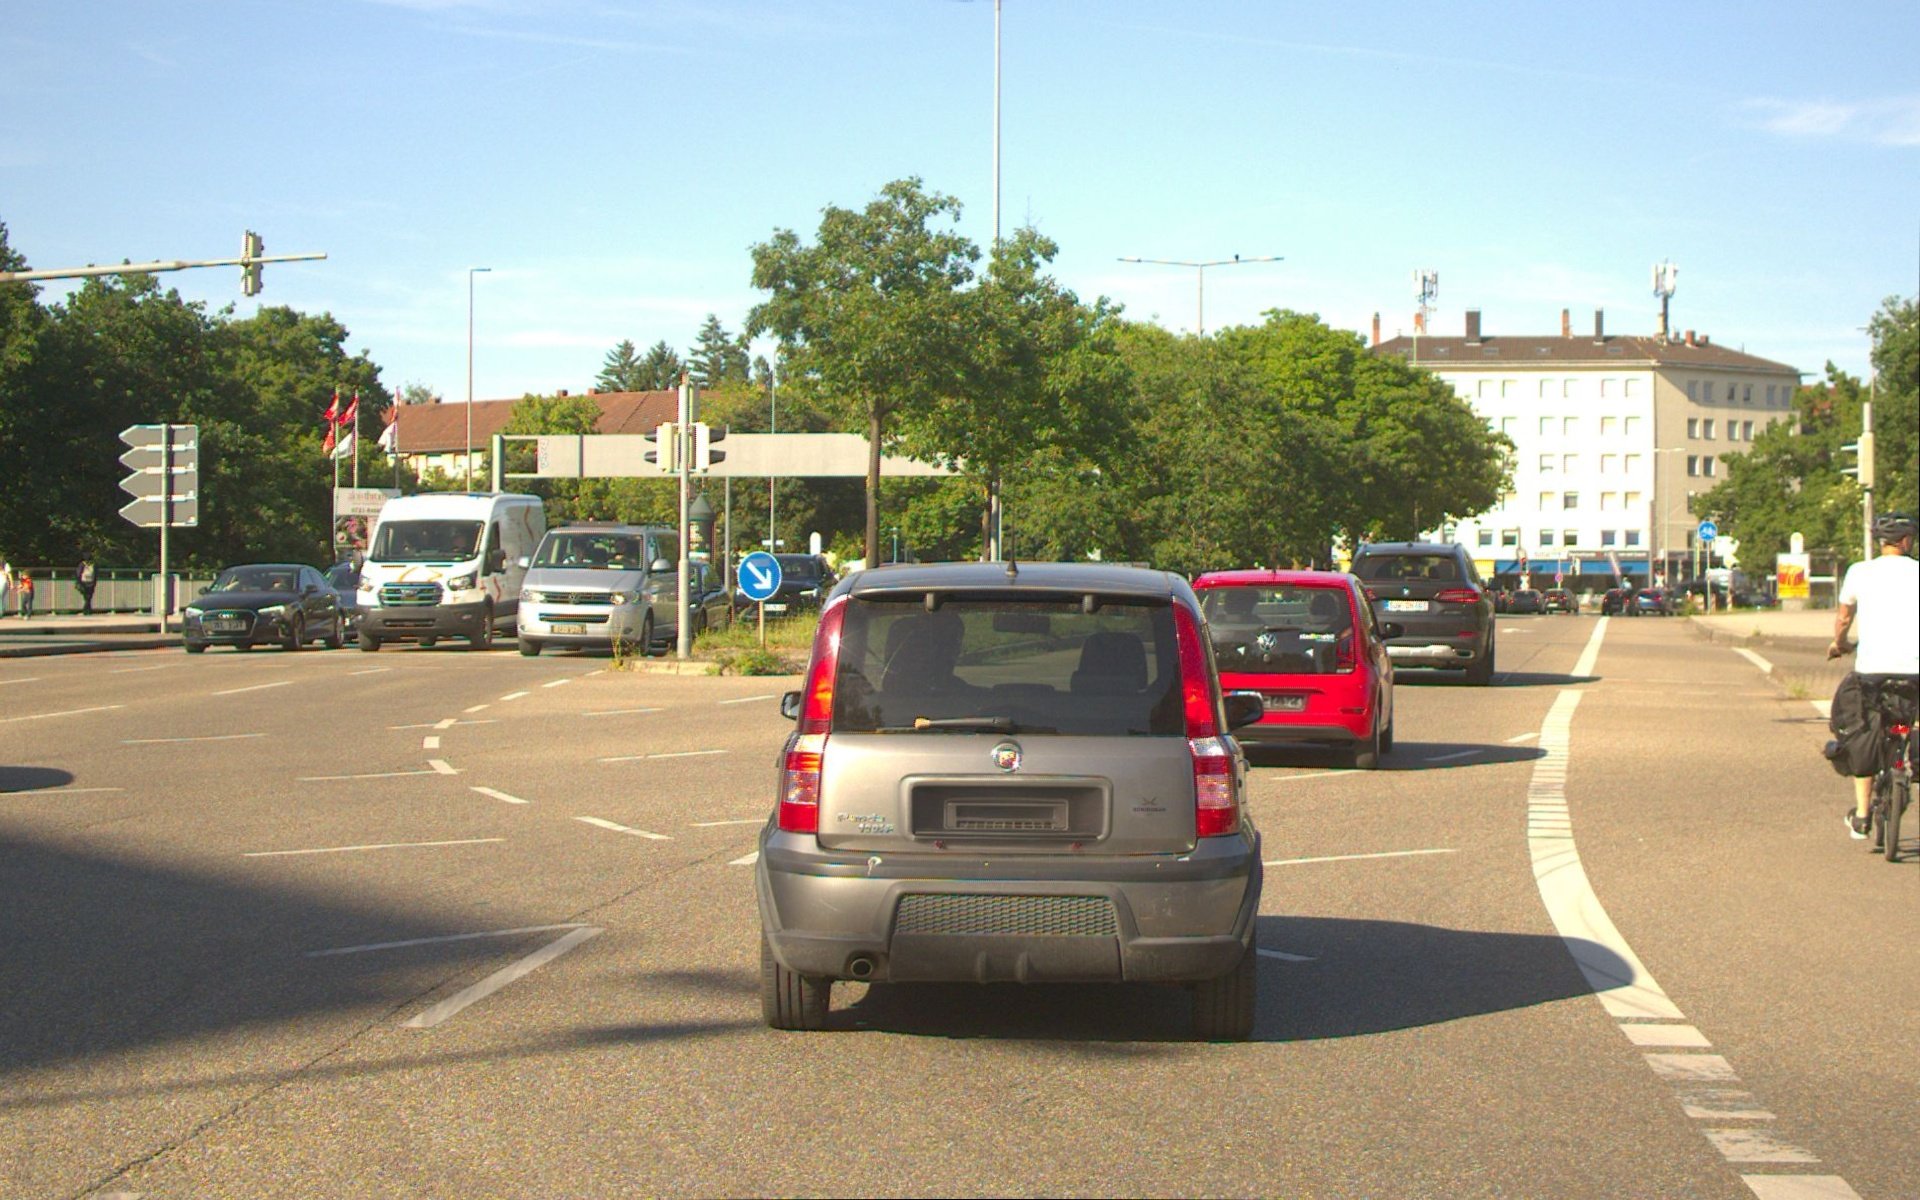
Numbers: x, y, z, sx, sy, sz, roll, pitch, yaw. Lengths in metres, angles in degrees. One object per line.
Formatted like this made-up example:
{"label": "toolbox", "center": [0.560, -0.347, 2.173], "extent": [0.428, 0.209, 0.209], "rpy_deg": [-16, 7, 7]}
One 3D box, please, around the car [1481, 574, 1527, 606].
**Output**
{"label": "car", "center": [26.902, -0.497, 169.982], "extent": [1.946, 1.523, 4.095], "rpy_deg": [1, 0, 13]}

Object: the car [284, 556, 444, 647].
{"label": "car", "center": [-10.655, -0.003, 61.761], "extent": [1.811, 1.536, 4.616], "rpy_deg": [-1, 1, 3]}

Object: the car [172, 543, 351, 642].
{"label": "car", "center": [-11.135, -0.134, 55.091], "extent": [1.937, 1.502, 4.000], "rpy_deg": [-1, 1, 2]}

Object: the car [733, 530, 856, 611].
{"label": "car", "center": [-3.440, -0.624, 72.263], "extent": [1.937, 1.617, 4.505], "rpy_deg": [1, 1, 6]}

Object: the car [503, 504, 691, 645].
{"label": "car", "center": [-5.367, -0.387, 51.484], "extent": [1.937, 2.001, 4.931], "rpy_deg": [1, 1, 4]}

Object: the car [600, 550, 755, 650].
{"label": "car", "center": [-4.745, -0.020, 58.307], "extent": [1.937, 1.617, 4.505], "rpy_deg": [1, 1, 4]}

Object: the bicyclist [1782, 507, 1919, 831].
{"label": "bicyclist", "center": [4.811, 0.353, 18.327], "extent": [0.724, 1.654, 1.112], "rpy_deg": [2, 0, 10]}

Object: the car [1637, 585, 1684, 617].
{"label": "car", "center": [40.582, 0.072, 199.100], "extent": [1.868, 1.675, 3.903], "rpy_deg": [1, -2, 24]}

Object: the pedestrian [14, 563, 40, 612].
{"label": "pedestrian", "center": [-22.053, -0.298, 81.255], "extent": [0.423, 1.132, 0.397], "rpy_deg": [2, -2, 9]}

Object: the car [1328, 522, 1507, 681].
{"label": "car", "center": [5.798, 0.030, 43.221], "extent": [1.946, 1.834, 4.150], "rpy_deg": [2, 0, 11]}

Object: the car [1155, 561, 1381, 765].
{"label": "car", "center": [2.424, 0.433, 26.756], "extent": [1.618, 1.458, 3.750], "rpy_deg": [1, 1, 6]}

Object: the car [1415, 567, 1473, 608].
{"label": "car", "center": [18.802, -0.490, 133.540], "extent": [1.946, 1.523, 4.095], "rpy_deg": [1, 0, 12]}

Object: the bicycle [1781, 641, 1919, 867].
{"label": "bicycle", "center": [4.800, 0.791, 18.331], "extent": [0.691, 1.098, 1.825], "rpy_deg": [2, 0, 10]}

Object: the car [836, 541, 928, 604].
{"label": "car", "center": [-2.079, -0.748, 92.498], "extent": [1.937, 1.617, 4.505], "rpy_deg": [1, 1, 6]}

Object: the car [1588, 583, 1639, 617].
{"label": "car", "center": [36.383, 0.008, 191.396], "extent": [1.868, 1.675, 3.903], "rpy_deg": [1, -2, 25]}

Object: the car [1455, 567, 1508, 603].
{"label": "car", "center": [22.356, -0.645, 147.216], "extent": [1.946, 1.523, 4.095], "rpy_deg": [1, 0, 12]}

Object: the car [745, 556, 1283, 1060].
{"label": "car", "center": [0.235, 0.608, 12.323], "extent": [1.617, 1.510, 3.819], "rpy_deg": [0, 1, 2]}

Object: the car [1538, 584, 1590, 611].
{"label": "car", "center": [35.815, -0.157, 203.823], "extent": [1.948, 1.523, 4.091], "rpy_deg": [1, 0, 26]}

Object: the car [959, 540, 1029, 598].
{"label": "car", "center": [1.211, -1.067, 119.528], "extent": [1.994, 2.007, 4.333], "rpy_deg": [0, 0, 6]}

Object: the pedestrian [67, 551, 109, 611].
{"label": "pedestrian", "center": [-22.540, -0.484, 88.884], "extent": [0.671, 1.498, 0.778], "rpy_deg": [1, -2, 24]}

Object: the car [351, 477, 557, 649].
{"label": "car", "center": [-7.969, -0.595, 54.751], "extent": [1.937, 2.567, 6.088], "rpy_deg": [1, 1, 4]}

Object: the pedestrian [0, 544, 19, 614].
{"label": "pedestrian", "center": [-22.801, -0.510, 81.461], "extent": [0.720, 1.636, 0.672], "rpy_deg": [2, -2, 9]}

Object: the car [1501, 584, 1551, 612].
{"label": "car", "center": [32.032, -0.130, 194.471], "extent": [1.947, 1.523, 4.093], "rpy_deg": [1, 0, 21]}
